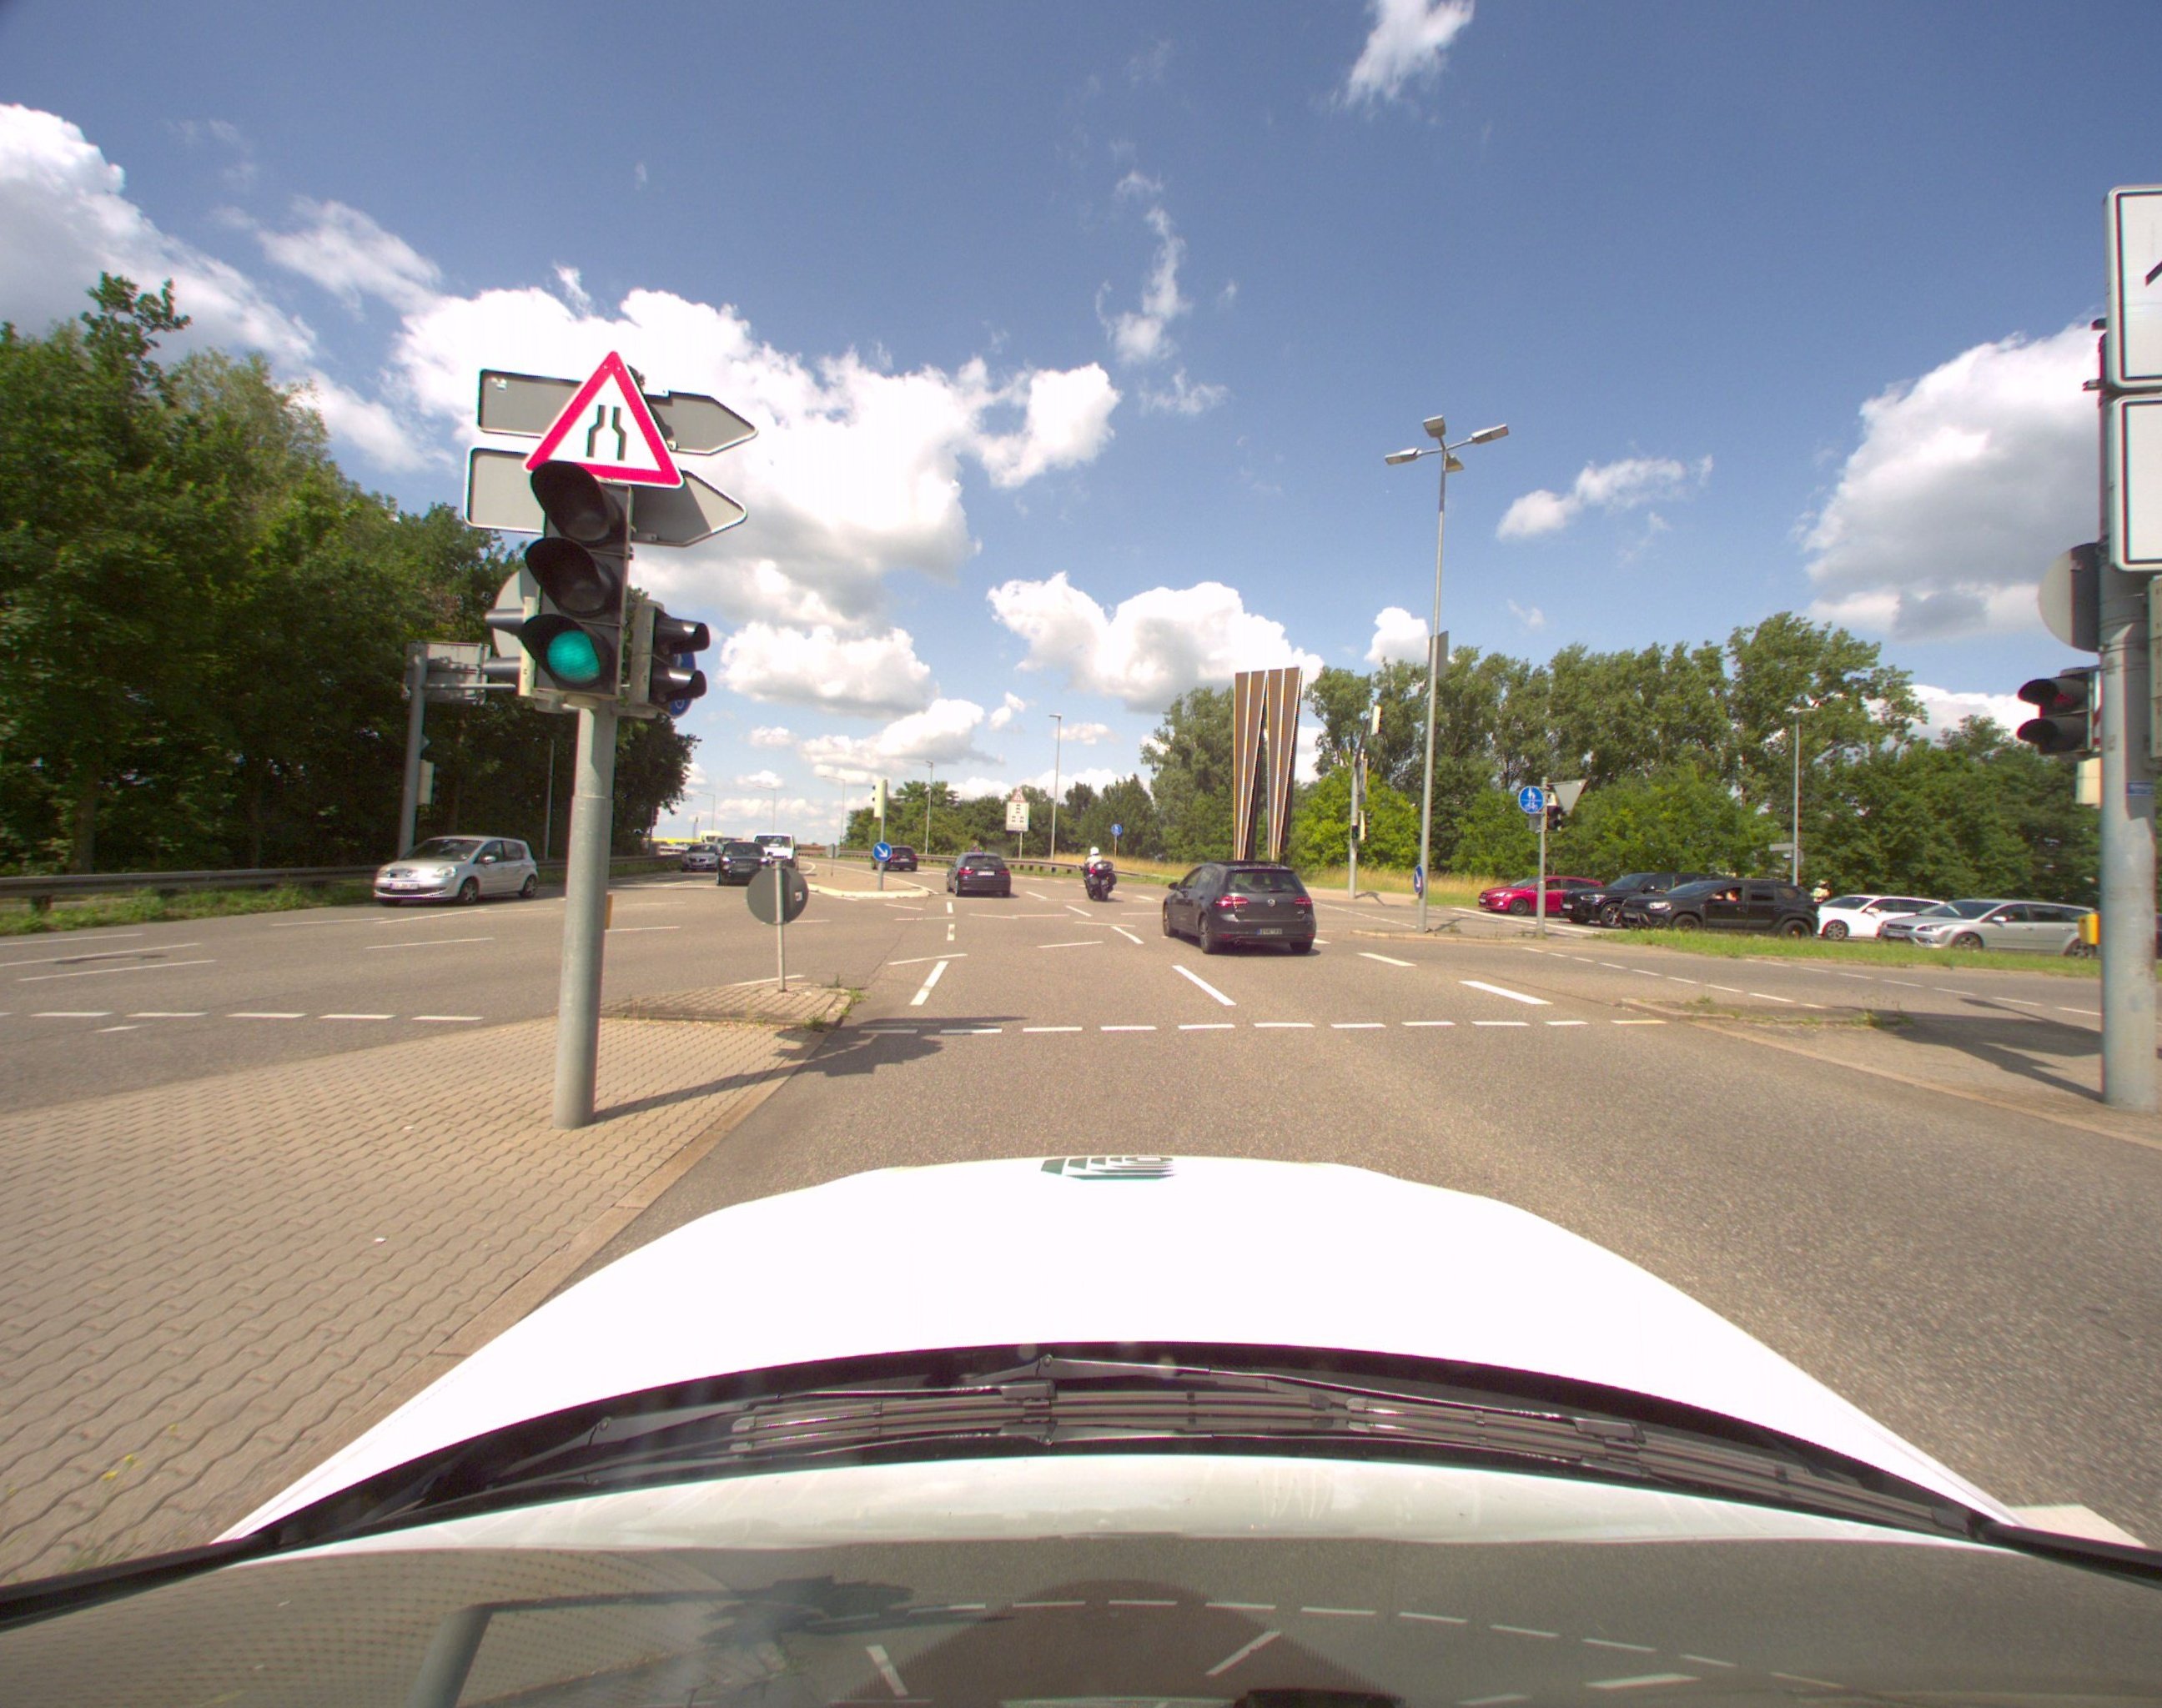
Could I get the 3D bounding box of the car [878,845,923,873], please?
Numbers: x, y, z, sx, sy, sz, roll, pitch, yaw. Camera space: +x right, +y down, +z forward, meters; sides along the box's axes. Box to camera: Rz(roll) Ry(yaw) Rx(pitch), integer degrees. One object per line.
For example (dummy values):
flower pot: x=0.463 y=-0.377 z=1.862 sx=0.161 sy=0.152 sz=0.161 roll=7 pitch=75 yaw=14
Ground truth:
car: x=-10.365 y=0.278 z=46.593 sx=1.650 sy=1.479 sz=3.840 roll=1 pitch=-1 yaw=-25

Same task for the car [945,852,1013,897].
car: x=-3.427 y=0.649 z=26.908 sx=1.685 sy=1.388 sz=3.719 roll=0 pitch=-1 yaw=-16

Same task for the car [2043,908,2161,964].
car: x=31.149 y=2.433 z=23.679 sx=4.185 sy=1.375 sz=1.702 roll=3 pitch=0 yaw=3

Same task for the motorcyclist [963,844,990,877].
motorcyclist: x=-5.217 y=0.326 z=40.607 sx=0.972 sy=1.596 sz=1.114 roll=2 pitch=-1 yaw=-31

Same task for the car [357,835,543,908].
car: x=-14.558 y=0.336 z=19.102 sx=1.733 sy=1.520 sz=4.054 roll=0 pitch=1 yaw=-10

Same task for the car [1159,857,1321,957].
car: x=2.587 y=0.807 z=14.154 sx=1.641 sy=1.479 sz=3.863 roll=1 pitch=0 yaw=-7

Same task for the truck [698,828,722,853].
truck: x=-40.893 y=-1.481 z=89.690 sx=2.006 sy=2.620 sz=6.047 roll=-1 pitch=1 yaw=-29

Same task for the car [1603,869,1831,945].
car: x=15.992 y=1.300 z=20.654 sx=4.263 sy=1.617 sz=1.846 roll=3 pitch=-1 yaw=3

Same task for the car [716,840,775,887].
car: x=-12.008 y=0.293 z=29.022 sx=1.707 sy=1.557 sz=3.790 roll=1 pitch=0 yaw=-26

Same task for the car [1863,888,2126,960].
car: x=22.529 y=1.703 z=20.210 sx=4.509 sy=1.375 sz=1.647 roll=3 pitch=0 yaw=3

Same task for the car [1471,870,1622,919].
car: x=16.086 y=1.391 z=28.322 sx=4.185 sy=1.375 sz=1.760 roll=3 pitch=0 yaw=3

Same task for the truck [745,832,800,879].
truck: x=-13.627 y=0.029 z=36.231 sx=1.966 sy=1.913 sz=5.338 roll=1 pitch=0 yaw=-18

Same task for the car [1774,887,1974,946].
car: x=23.311 y=1.817 z=24.058 sx=4.185 sy=1.375 sz=1.647 roll=3 pitch=0 yaw=3

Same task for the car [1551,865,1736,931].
car: x=16.744 y=1.281 z=24.423 sx=4.185 sy=1.645 sz=1.839 roll=3 pitch=0 yaw=3

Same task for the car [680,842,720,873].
car: x=-19.674 y=0.154 z=42.184 sx=1.689 sy=1.478 sz=4.677 roll=0 pitch=0 yaw=-23

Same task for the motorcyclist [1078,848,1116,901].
motorcyclist: x=0.495 y=0.627 z=25.683 sx=0.966 sy=1.620 sz=1.121 roll=2 pitch=-1 yaw=-11

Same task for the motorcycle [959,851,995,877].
motorcycle: x=-5.173 y=0.489 z=40.553 sx=0.893 sy=1.247 sz=2.376 roll=2 pitch=0 yaw=-30

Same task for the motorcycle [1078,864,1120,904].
motorcycle: x=0.543 y=0.901 z=25.461 sx=0.789 sy=1.132 sz=2.390 roll=2 pitch=0 yaw=-11
